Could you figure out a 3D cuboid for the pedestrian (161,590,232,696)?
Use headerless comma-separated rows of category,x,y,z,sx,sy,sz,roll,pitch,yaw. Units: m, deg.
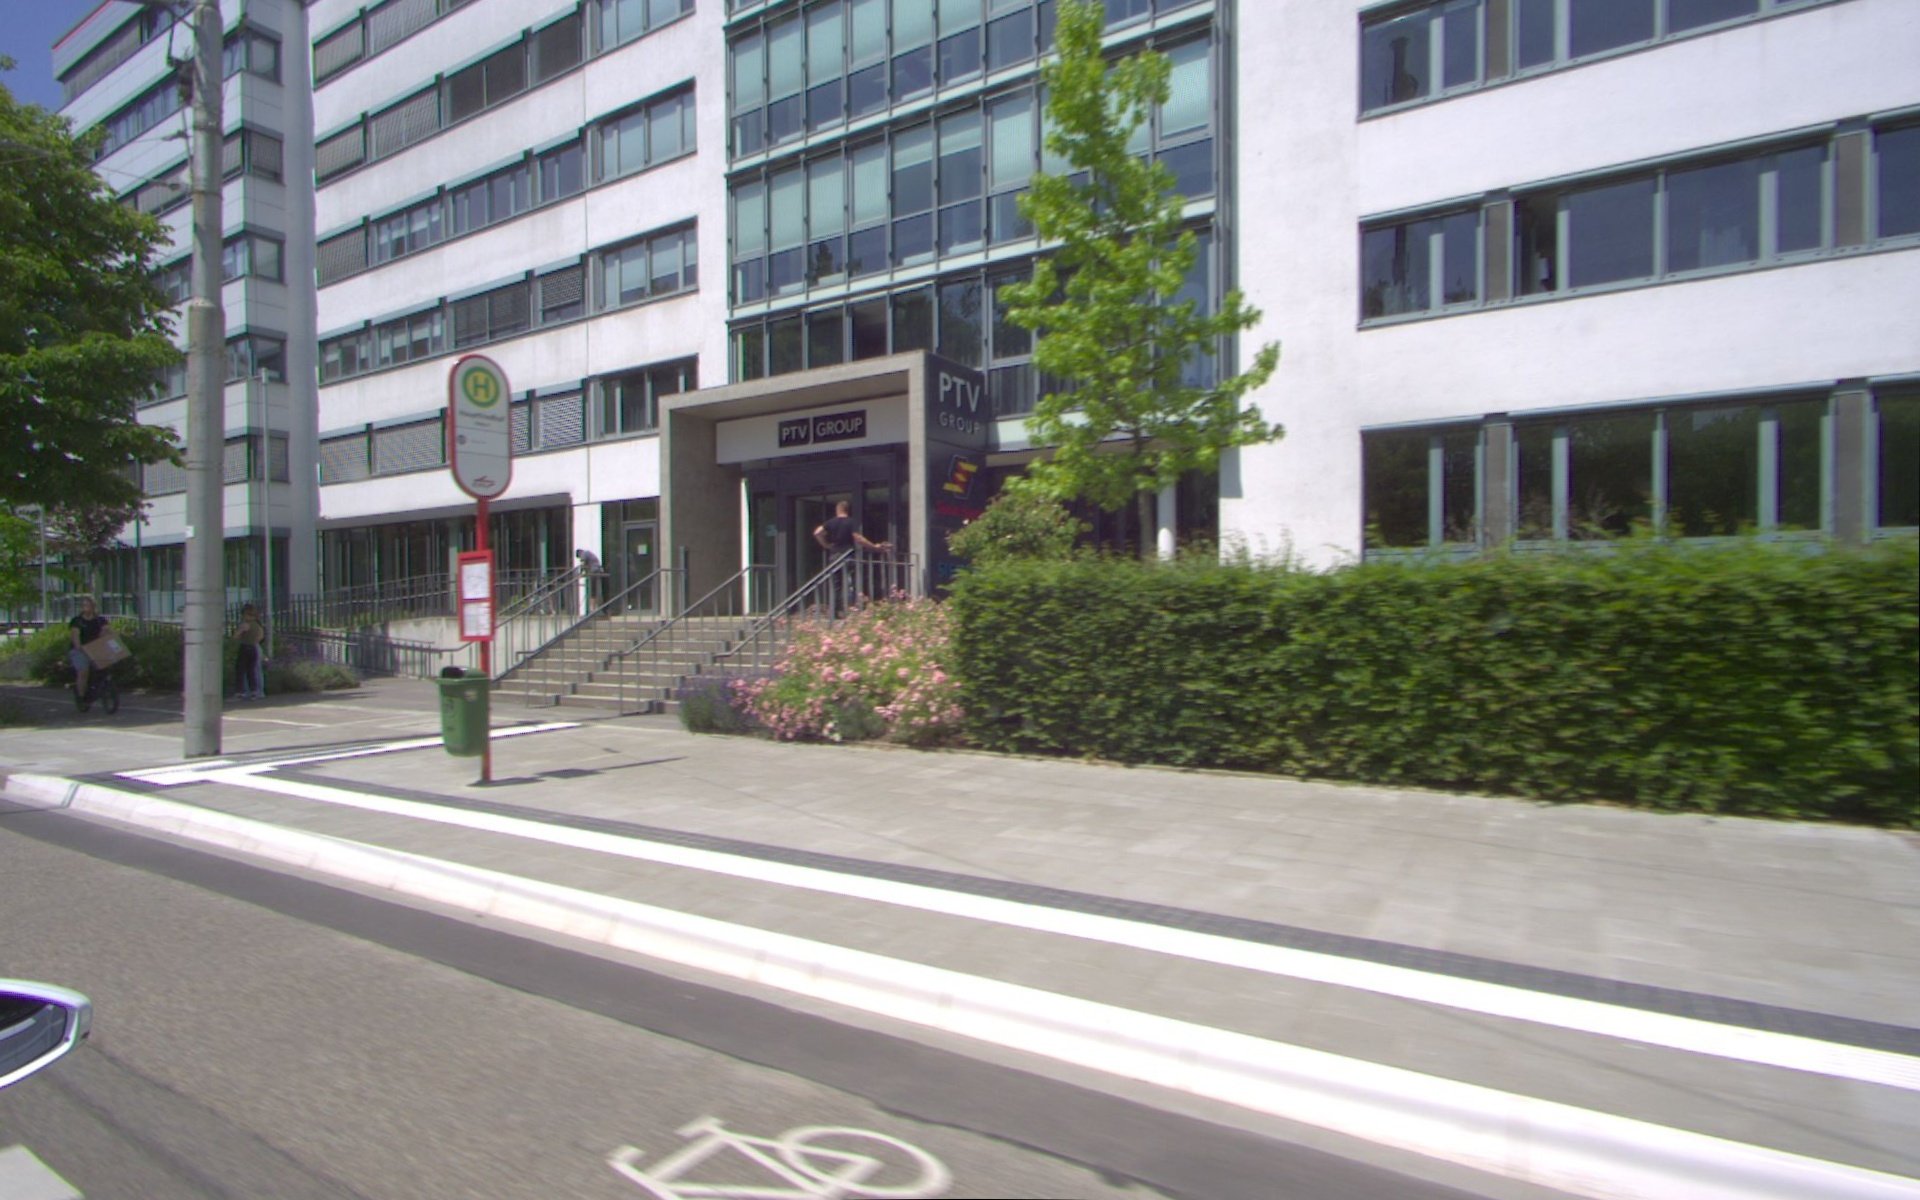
pedestrian,-13.430,0.744,17.634,0.661,1.821,0.679,-1,1,1

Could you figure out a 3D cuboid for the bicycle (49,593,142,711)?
bicycle,-13.997,0.823,16.207,1.787,1.809,0.687,-1,1,36

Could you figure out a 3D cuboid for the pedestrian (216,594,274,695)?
pedestrian,-12.470,0.766,17.479,0.554,1.738,0.538,-1,1,3

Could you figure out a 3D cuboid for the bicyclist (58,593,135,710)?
bicyclist,-13.961,0.812,16.190,0.876,1.823,0.694,-1,1,35

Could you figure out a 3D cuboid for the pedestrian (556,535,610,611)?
pedestrian,-9.000,-0.624,23.901,0.796,1.738,0.876,0,-1,31

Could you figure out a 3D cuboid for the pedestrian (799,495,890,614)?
pedestrian,-1.757,-0.669,15.364,1.071,1.738,0.874,-1,1,21

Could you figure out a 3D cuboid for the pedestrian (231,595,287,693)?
pedestrian,-12.627,0.785,18.051,0.554,1.738,0.538,-1,1,3
